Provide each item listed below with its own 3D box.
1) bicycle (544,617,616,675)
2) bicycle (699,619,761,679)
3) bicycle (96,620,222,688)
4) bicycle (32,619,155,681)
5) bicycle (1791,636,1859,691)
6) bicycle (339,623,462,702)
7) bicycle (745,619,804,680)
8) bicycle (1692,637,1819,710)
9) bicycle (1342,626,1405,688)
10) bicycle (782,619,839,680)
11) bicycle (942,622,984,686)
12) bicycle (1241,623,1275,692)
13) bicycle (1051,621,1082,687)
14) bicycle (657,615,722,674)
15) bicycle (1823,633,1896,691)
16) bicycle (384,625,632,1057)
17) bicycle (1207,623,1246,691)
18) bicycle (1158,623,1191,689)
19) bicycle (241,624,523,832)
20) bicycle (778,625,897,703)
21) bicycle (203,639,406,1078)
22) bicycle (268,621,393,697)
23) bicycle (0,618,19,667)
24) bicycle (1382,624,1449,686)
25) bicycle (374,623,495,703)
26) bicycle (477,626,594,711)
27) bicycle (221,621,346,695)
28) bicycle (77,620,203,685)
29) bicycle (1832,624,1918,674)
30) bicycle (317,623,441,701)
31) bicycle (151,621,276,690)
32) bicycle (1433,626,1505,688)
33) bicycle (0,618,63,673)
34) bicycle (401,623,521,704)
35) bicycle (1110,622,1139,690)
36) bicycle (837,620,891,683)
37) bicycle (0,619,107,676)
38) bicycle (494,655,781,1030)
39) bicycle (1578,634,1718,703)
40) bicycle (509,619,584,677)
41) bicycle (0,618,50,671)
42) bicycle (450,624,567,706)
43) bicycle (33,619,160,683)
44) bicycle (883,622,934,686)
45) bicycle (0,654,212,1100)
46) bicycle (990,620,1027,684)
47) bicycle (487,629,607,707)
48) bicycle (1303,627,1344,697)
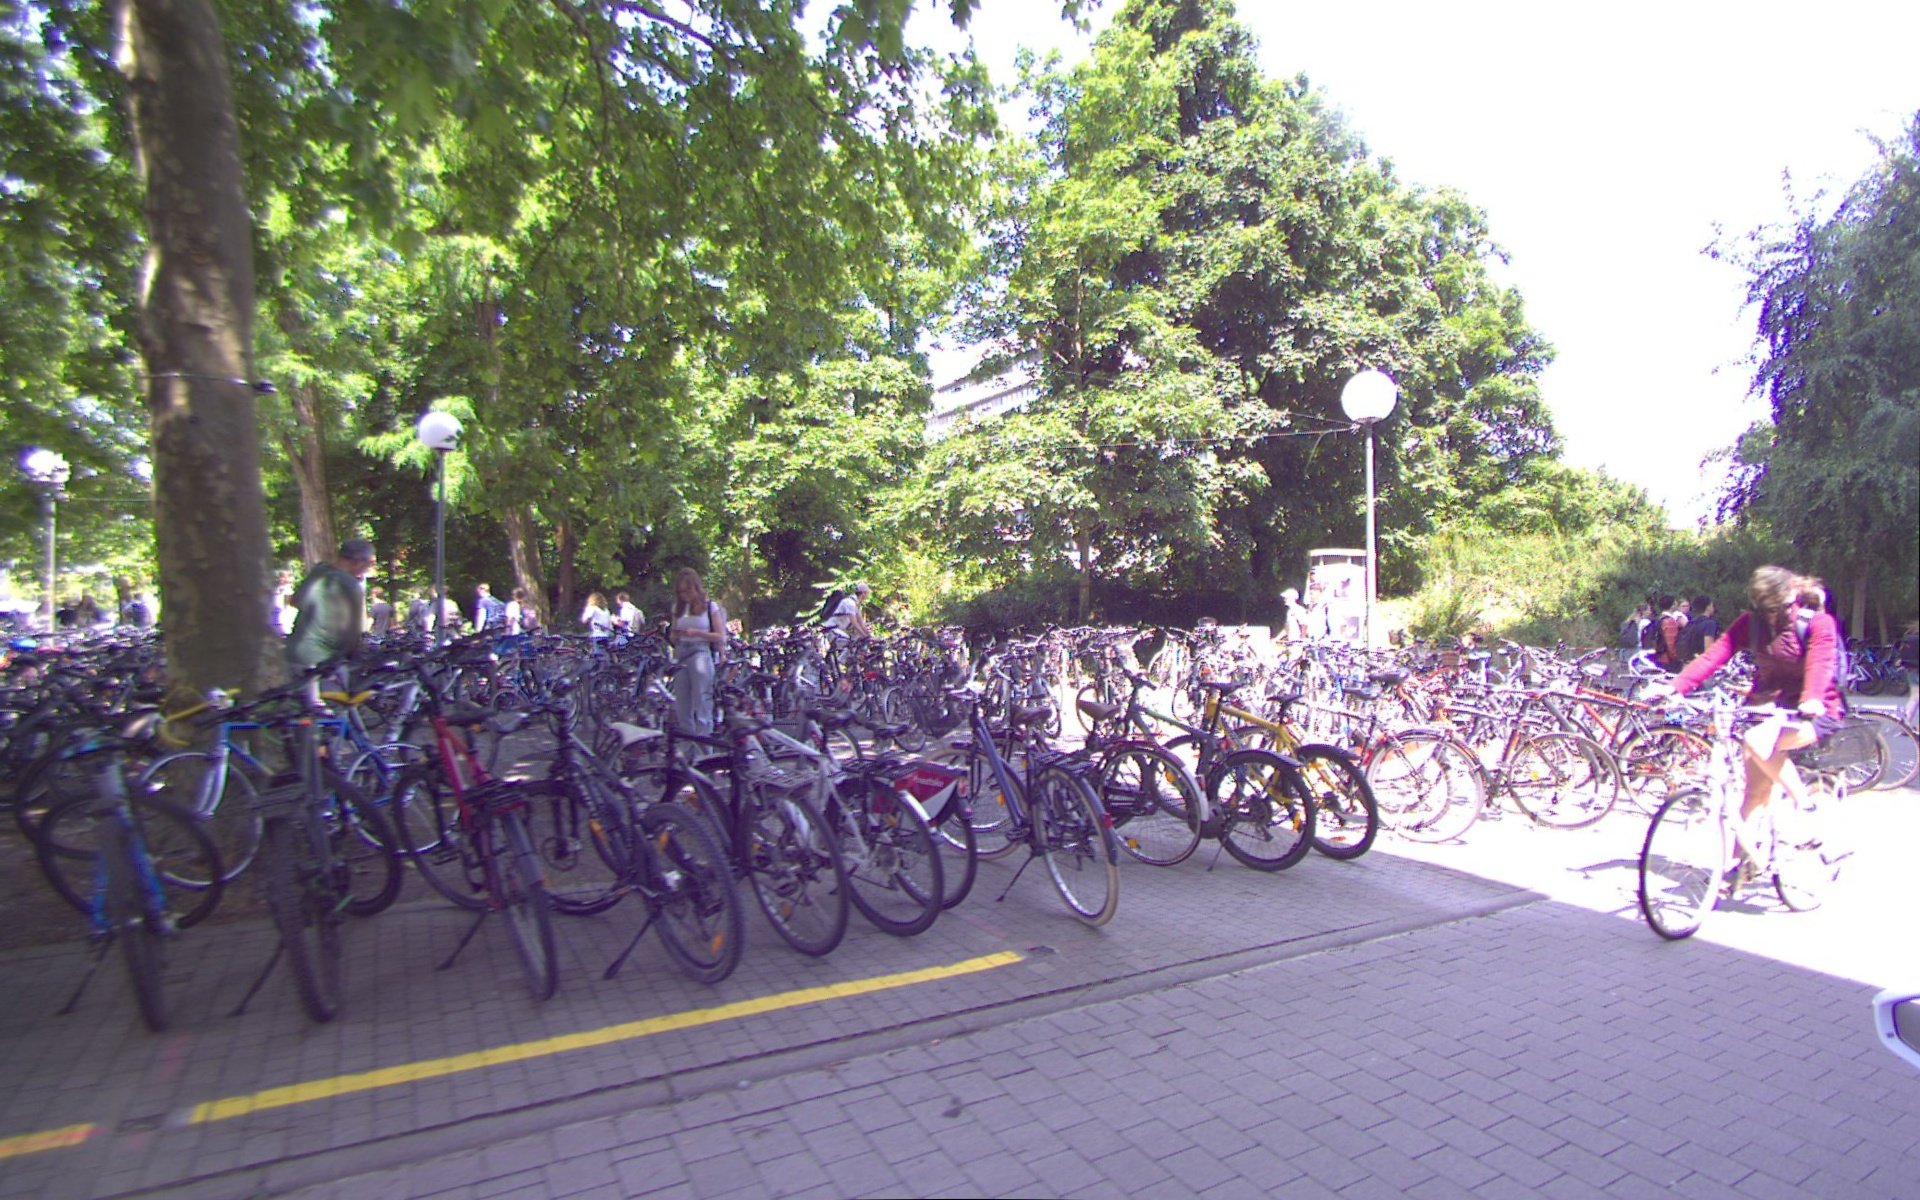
[{"bbox_3d":[-7.832,0.916,20.784,0.507,1.125,1.779,1,0,12],"label":"bicycle"},{"bbox_3d":[-4.587,0.950,20.160,0.507,1.125,1.779,1,0,12],"label":"bicycle"},{"bbox_3d":[-13.871,0.905,17.451,0.465,1.098,1.699,1,0,21],"label":"bicycle"},{"bbox_3d":[-16.398,0.921,19.047,0.466,1.098,1.696,1,0,30],"label":"bicycle"},{"bbox_3d":[18.102,1.302,21.045,0.465,1.061,1.700,1,0,19],"label":"bicycle"},{"bbox_3d":[-8.376,0.903,15.105,0.465,1.098,1.699,1,0,21],"label":"bicycle"},{"bbox_3d":[-3.694,0.964,20.108,0.507,1.125,1.779,1,0,12],"label":"bicycle"},{"bbox_3d":[12.784,1.181,16.158,1.811,1.125,0.473,1,0,-8],"label":"bicycle"},{"bbox_3d":[8.060,1.084,19.640,0.465,1.125,1.778,1,0,-1],"label":"bicycle"},{"bbox_3d":[-2.914,0.949,19.776,0.507,1.125,1.779,1,0,12],"label":"bicycle"},{"bbox_3d":[0.067,0.982,18.846,0.507,1.125,1.779,1,0,9],"label":"bicycle"},{"bbox_3d":[5.293,0.988,17.867,0.464,1.125,1.779,1,0,14],"label":"bicycle"},{"bbox_3d":[1.957,0.953,18.401,0.464,1.125,1.779,1,0,9],"label":"bicycle"},{"bbox_3d":[-5.433,0.876,20.281,0.507,1.125,1.779,1,0,12],"label":"bicycle"},{"bbox_3d":[18.712,1.264,20.938,0.465,1.061,1.699,3,1,19],"label":"bicycle"},{"bbox_3d":[-1.809,0.749,3.869,0.492,1.252,1.722,1,0,-37],"label":"bicycle"},{"bbox_3d":[4.778,0.999,18.053,0.464,1.125,1.779,1,0,9],"label":"bicycle"},{"bbox_3d":[3.928,0.997,18.491,0.464,1.125,1.779,1,0,9],"label":"bicycle"},{"bbox_3d":[-3.873,0.787,6.900,0.564,1.215,1.699,1,0,20],"label":"bicycle"},{"bbox_3d":[-1.842,0.951,15.185,1.665,1.098,0.604,1,0,12],"label":"bicycle"},{"bbox_3d":[-2.382,0.775,3.755,0.491,1.194,1.726,1,0,-30],"label":"bicycle"},{"bbox_3d":[-9.761,0.885,15.654,0.465,1.098,1.699,1,0,21],"label":"bicycle"},{"bbox_3d":[-22.266,0.960,22.466,0.466,1.098,1.696,1,0,30],"label":"bicycle"},{"bbox_3d":[8.922,1.060,19.750,0.465,1.125,1.778,1,0,-1],"label":"bicycle"},{"bbox_3d":[-7.800,0.906,14.986,0.465,1.098,1.699,1,0,21],"label":"bicycle"},{"bbox_3d":[-5.988,0.933,14.270,0.465,1.098,1.699,1,0,21],"label":"bicycle"},{"bbox_3d":[-10.794,0.893,16.096,0.465,1.098,1.699,1,0,21],"label":"bicycle"},{"bbox_3d":[-14.648,0.914,17.997,0.465,1.098,1.698,1,0,26],"label":"bicycle"},{"bbox_3d":[21.165,1.133,23.239,1.668,1.061,0.473,2,1,-9],"label":"bicycle"},{"bbox_3d":[-8.819,0.904,15.322,0.465,1.098,1.699,1,0,21],"label":"bicycle"},{"bbox_3d":[-12.628,0.912,17.054,0.465,1.098,1.699,1,0,21],"label":"bicycle"},{"bbox_3d":[9.975,1.099,19.732,0.465,1.125,1.778,1,0,-1],"label":"bicycle"},{"bbox_3d":[-19.650,0.934,20.680,0.466,1.098,1.696,1,0,30],"label":"bicycle"},{"bbox_3d":[-7.272,0.899,14.733,0.465,1.098,1.699,1,0,21],"label":"bicycle"},{"bbox_3d":[2.966,0.983,18.181,0.464,1.125,1.779,1,0,9],"label":"bicycle"},{"bbox_3d":[-1.807,0.956,19.222,0.507,1.125,1.779,1,0,12],"label":"bicycle"},{"bbox_3d":[-18.228,0.929,20.108,0.466,1.098,1.696,1,0,30],"label":"bicycle"},{"bbox_3d":[-1.371,0.828,4.053,0.493,1.123,1.680,1,0,-40],"label":"bicycle"},{"bbox_3d":[11.596,1.144,16.981,1.870,1.060,0.542,2,-2,16],"label":"bicycle"},{"bbox_3d":[-8.589,0.977,20.928,0.507,1.125,1.779,1,0,12],"label":"bicycle"},{"bbox_3d":[-20.513,0.944,21.321,0.466,1.098,1.696,1,0,30],"label":"bicycle"},{"bbox_3d":[-6.491,0.903,14.541,0.465,1.098,1.699,1,0,21],"label":"bicycle"},{"bbox_3d":[-15.756,0.905,18.380,0.466,1.098,1.696,1,0,30],"label":"bicycle"},{"bbox_3d":[-0.949,0.984,19.015,0.507,1.125,1.779,1,0,12],"label":"bicycle"},{"bbox_3d":[-3.029,0.796,3.512,0.493,1.123,1.719,1,0,-42],"label":"bicycle"},{"bbox_3d":[0.929,0.951,18.877,0.507,1.125,1.779,1,0,9],"label":"bicycle"},{"bbox_3d":[-5.664,0.907,13.879,0.443,0.975,1.740,1,0,21],"label":"bicycle"},{"bbox_3d":[6.305,1.043,17.471,0.464,1.125,1.779,1,0,14],"label":"bicycle"}]
